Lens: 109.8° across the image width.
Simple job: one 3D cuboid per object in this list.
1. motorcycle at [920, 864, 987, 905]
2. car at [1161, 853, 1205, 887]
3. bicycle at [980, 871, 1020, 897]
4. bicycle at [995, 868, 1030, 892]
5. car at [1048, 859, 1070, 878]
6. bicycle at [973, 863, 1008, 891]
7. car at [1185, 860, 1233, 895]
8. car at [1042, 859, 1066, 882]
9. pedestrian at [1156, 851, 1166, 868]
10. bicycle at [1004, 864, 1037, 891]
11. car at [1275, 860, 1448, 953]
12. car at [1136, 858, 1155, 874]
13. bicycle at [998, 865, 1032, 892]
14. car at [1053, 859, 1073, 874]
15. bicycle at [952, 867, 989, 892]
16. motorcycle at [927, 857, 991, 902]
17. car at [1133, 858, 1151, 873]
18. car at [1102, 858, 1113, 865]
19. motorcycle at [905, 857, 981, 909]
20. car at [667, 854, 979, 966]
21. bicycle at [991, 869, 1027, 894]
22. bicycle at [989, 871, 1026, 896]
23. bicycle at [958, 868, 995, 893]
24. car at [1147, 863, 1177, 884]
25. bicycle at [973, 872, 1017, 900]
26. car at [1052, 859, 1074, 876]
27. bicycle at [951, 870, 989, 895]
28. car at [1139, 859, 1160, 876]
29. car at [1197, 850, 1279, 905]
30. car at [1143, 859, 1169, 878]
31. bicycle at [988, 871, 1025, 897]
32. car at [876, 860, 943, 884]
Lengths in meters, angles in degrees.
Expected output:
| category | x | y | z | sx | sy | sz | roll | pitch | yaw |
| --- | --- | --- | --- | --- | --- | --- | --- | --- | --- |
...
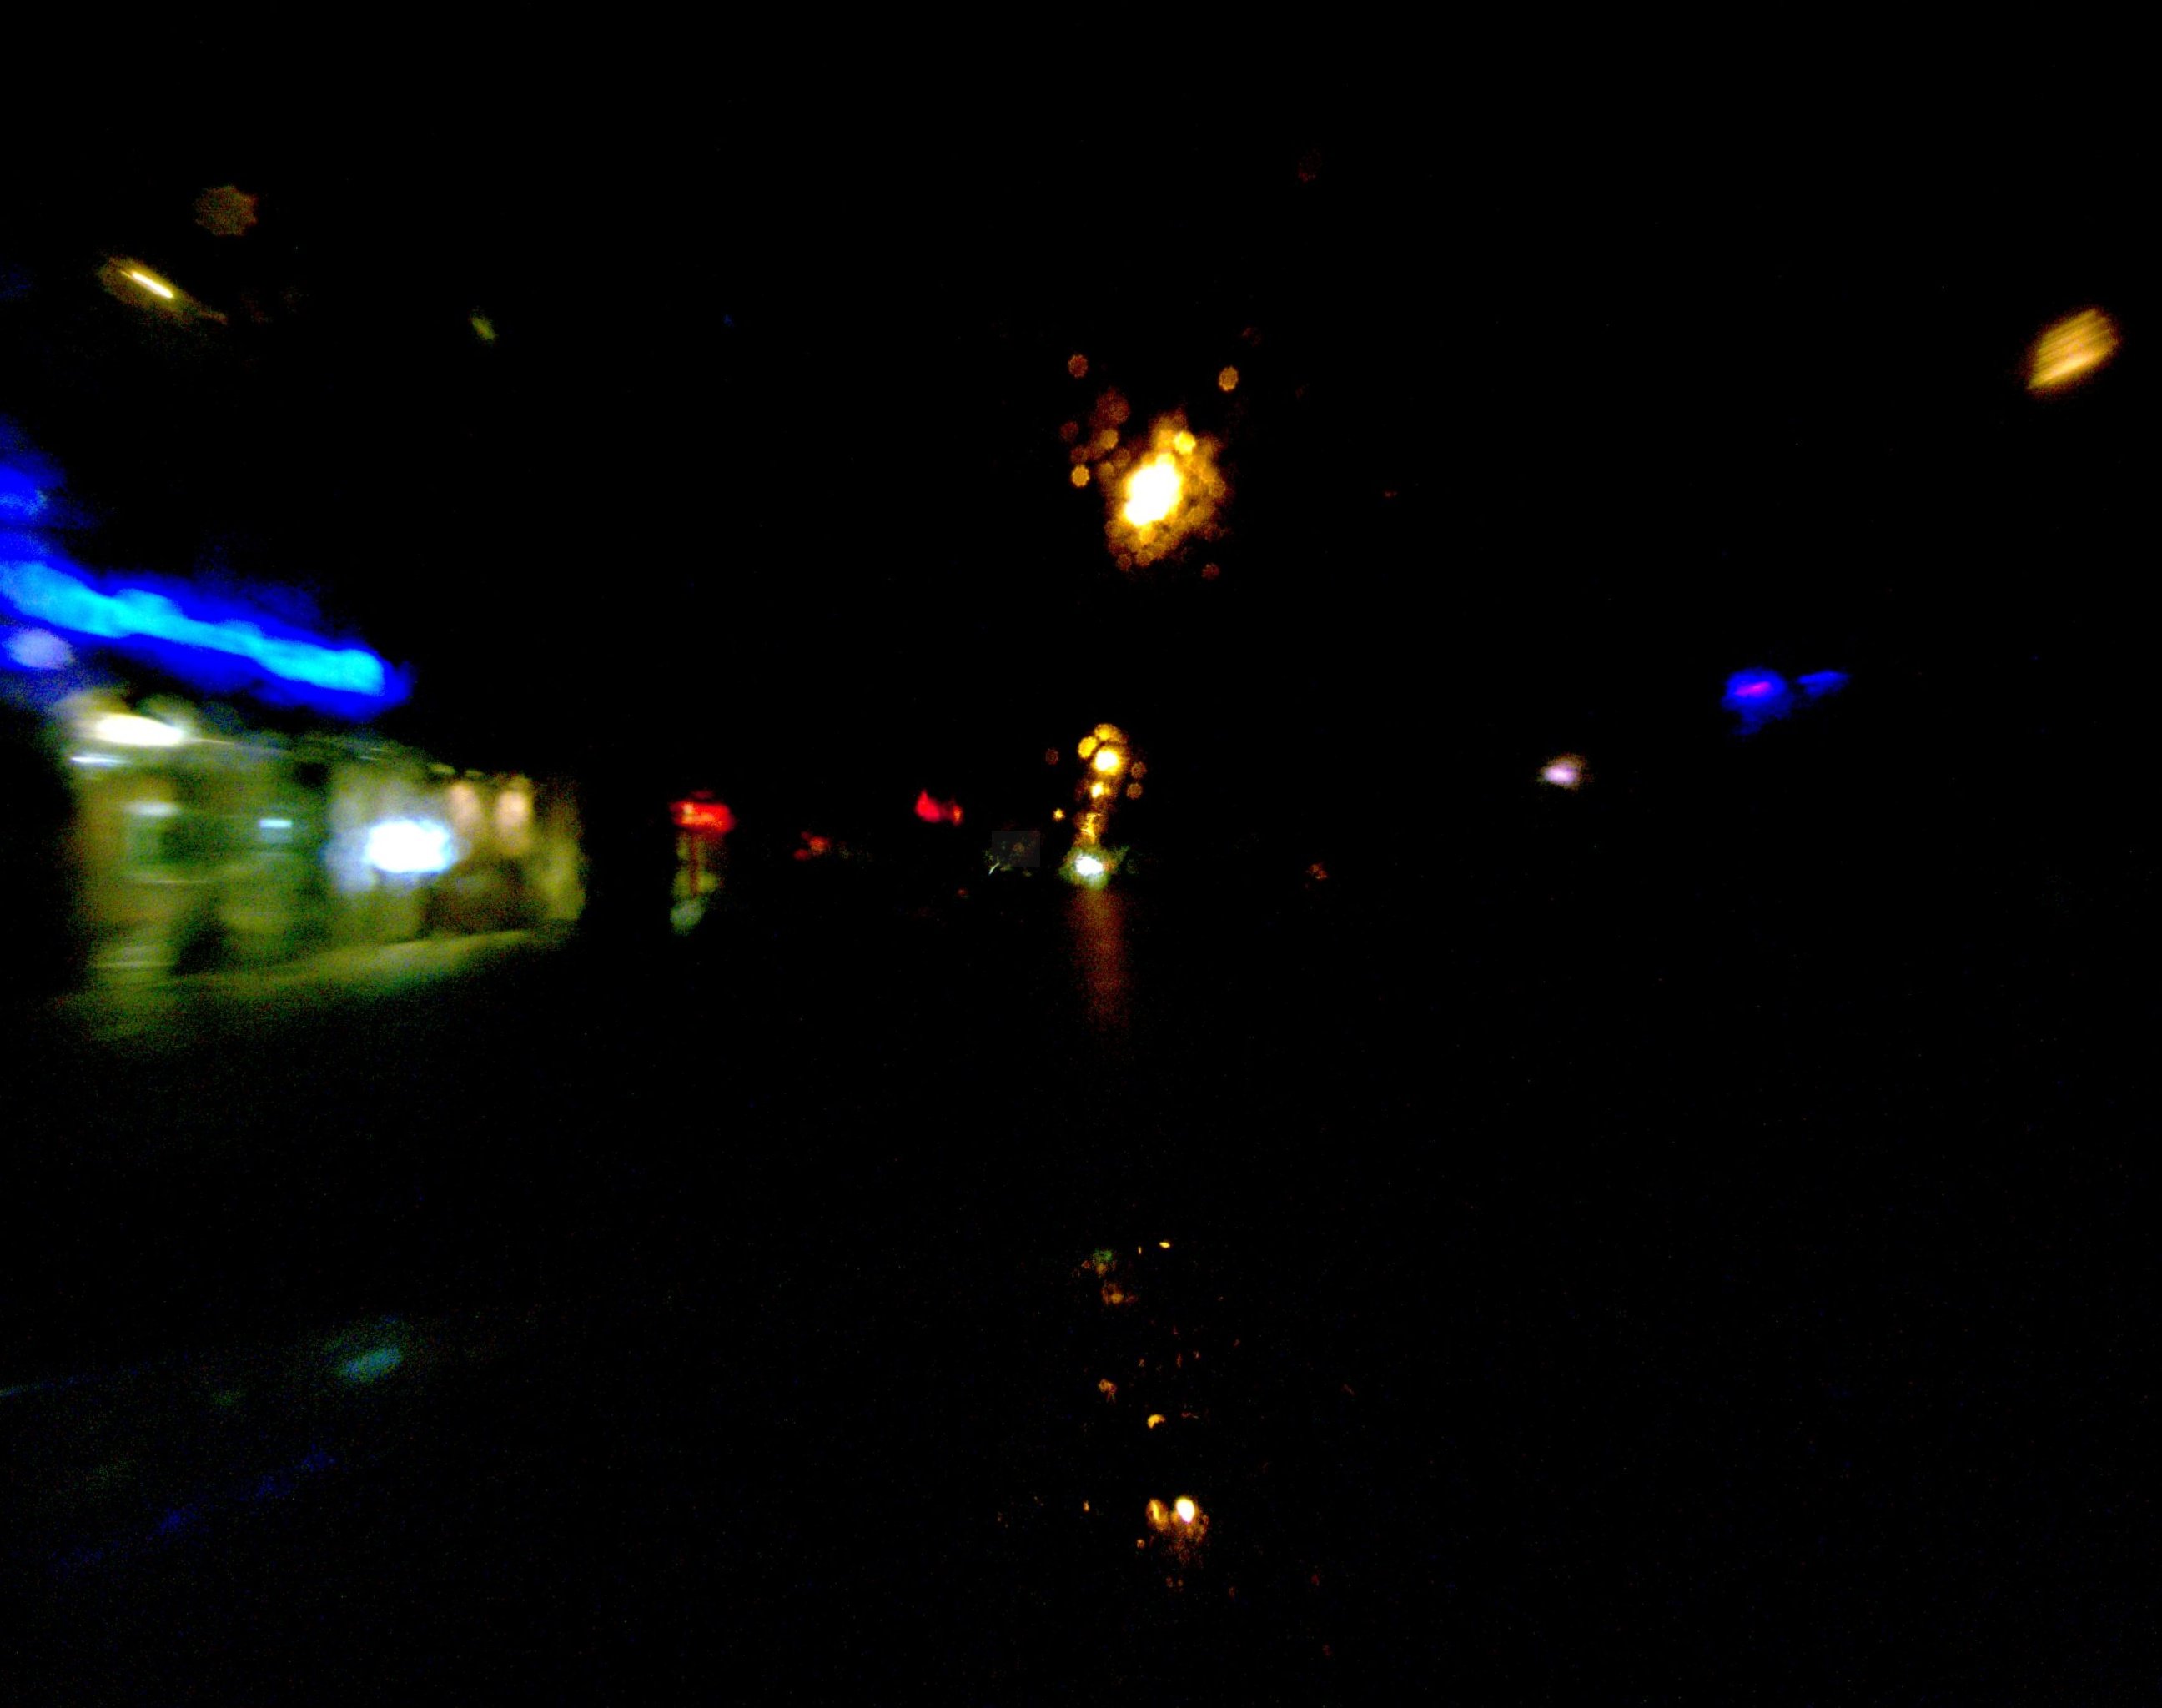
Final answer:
| category | x | y | z | sx | sy | sz | roll | pitch | yaw |
| --- | --- | --- | --- | --- | --- | --- | --- | --- | --- |
| motorcycle | -4.584 | 1.079 | 27.448 | 2.178 | 1.311 | 0.867 | 3 | 1 | 0 |
| car | 5.708 | 0.876 | 42.856 | 1.907 | 1.818 | 4.829 | -1 | 0 | 1 |
| bicycle | -3.383 | 1.248 | 31.560 | 1.531 | 0.947 | 0.366 | 5 | 1 | 8 |
| bicycle | -3.285 | 1.262 | 36.503 | 1.532 | 1.018 | 0.366 | 5 | 1 | -1 |
| car | -1.855 | 1.238 | 65.900 | 1.689 | 1.498 | 4.162 | 0 | 0 | 1 |
| bicycle | -4.422 | 1.120 | 37.163 | 1.532 | 1.195 | 0.366 | 5 | 1 | -1 |
| car | 5.634 | 1.001 | 33.806 | 1.573 | 1.451 | 3.720 | -1 | 0 | 1 |
| car | -2.058 | 1.256 | 59.743 | 1.676 | 1.712 | 3.857 | 0 | 0 | 1 |
| pedestrian | 8.743 | 0.615 | 83.044 | 0.912 | 1.777 | 0.629 | -3 | 1 | 1 |
| bicycle | -3.025 | 1.185 | 38.082 | 1.532 | 1.195 | 0.366 | 5 | 1 | 3 |
| car | 5.411 | 0.915 | 15.405 | 1.771 | 1.474 | 4.772 | -4 | 0 | 1 |
| car | 6.175 | 1.176 | 72.649 | 1.696 | 1.470 | 3.386 | -1 | -1 | 5 |
| bicycle | -3.255 | 1.198 | 37.633 | 1.532 | 1.195 | 0.366 | 5 | 1 | -1 |
| car | -1.783 | 1.245 | 76.969 | 1.846 | 1.498 | 4.162 | 0 | 0 | 1 |
| bicycle | -4.856 | 1.138 | 33.413 | 1.533 | 0.947 | 0.366 | 5 | 1 | -4 |
| motorcycle | -4.597 | 0.962 | 28.784 | 2.178 | 1.538 | 0.867 | 3 | 1 | 0 |
| car | 6.145 | 1.197 | 76.680 | 1.697 | 1.470 | 3.964 | -1 | -1 | 2 |
| car | 5.298 | 1.527 | 150.763 | 1.877 | 1.386 | 4.075 | -1 | -1 | 4 |
| motorcycle | -4.615 | 0.965 | 25.573 | 2.294 | 1.579 | 0.867 | 3 | 1 | 0 |
| car | -4.111 | 0.873 | 12.658 | 4.523 | 1.522 | 1.780 | 3 | 0 | 0 |
| bicycle | -3.331 | 1.268 | 35.197 | 1.532 | 1.018 | 0.366 | 5 | 1 | 4 |
| bicycle | -3.232 | 1.280 | 33.303 | 1.533 | 0.947 | 0.366 | 5 | 1 | -3 |
| bicycle | -4.668 | 1.192 | 33.944 | 1.533 | 0.947 | 0.366 | 5 | 1 | -3 |
| car | 5.775 | 1.383 | 54.814 | 1.731 | 1.384 | 4.555 | -1 | 0 | 1 |
| bicycle | -3.488 | 1.302 | 30.928 | 1.672 | 0.947 | 0.366 | 5 | 1 | 8 |
| car | -1.657 | 1.254 | 71.257 | 1.846 | 1.498 | 4.162 | 0 | 0 | 1 |
| bicycle | -4.808 | 1.233 | 32.874 | 1.533 | 0.947 | 0.366 | 5 | 1 | -3 |
| car | 5.976 | 1.150 | 66.468 | 1.531 | 1.445 | 3.384 | -1 | 0 | 1 |
| car | 5.597 | 0.797 | 27.804 | 2.001 | 1.818 | 5.207 | -1 | 0 | 1 |
| car | 5.988 | 1.144 | 60.823 | 1.731 | 1.445 | 4.273 | -1 | 0 | 1 |
| bicycle | -3.212 | 1.291 | 32.836 | 1.533 | 0.947 | 0.366 | 5 | 1 | -3 |
| car | -11.554 | 1.182 | 51.290 | 3.996 | 1.476 | 1.895 | -2 | 0 | 2 |
